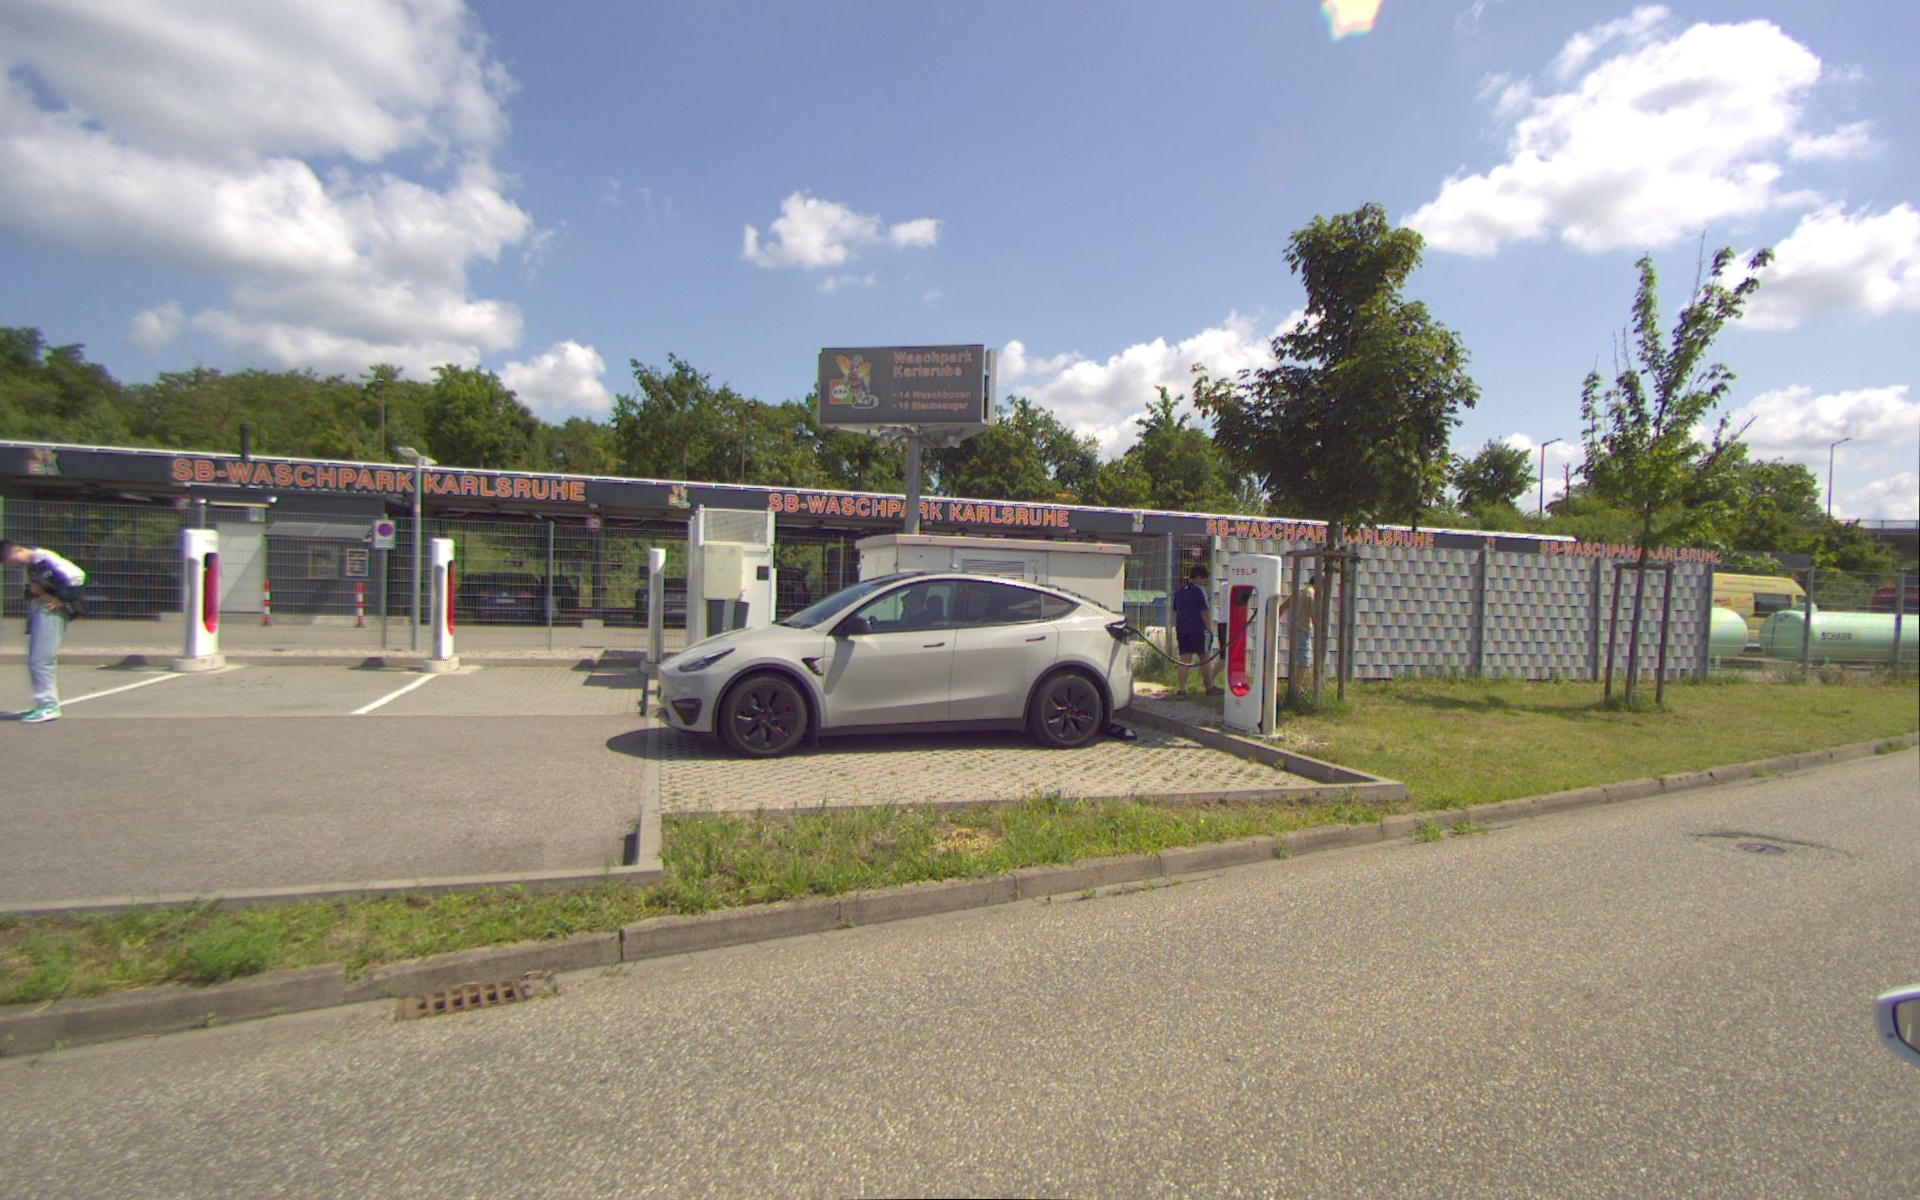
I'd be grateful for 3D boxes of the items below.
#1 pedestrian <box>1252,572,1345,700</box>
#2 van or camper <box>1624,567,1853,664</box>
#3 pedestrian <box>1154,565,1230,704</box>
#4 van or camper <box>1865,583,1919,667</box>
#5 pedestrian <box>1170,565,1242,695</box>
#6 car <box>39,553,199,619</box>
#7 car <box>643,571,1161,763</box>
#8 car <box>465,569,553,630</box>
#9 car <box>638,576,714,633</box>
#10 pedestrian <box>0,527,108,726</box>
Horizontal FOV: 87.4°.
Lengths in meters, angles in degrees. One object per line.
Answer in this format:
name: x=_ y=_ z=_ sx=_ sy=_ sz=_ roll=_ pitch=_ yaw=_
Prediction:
pedestrian: x=4.297 y=0.451 z=12.783 sx=0.802 sy=1.562 sz=0.737 roll=2 pitch=0 yaw=-17
van or camper: x=21.761 y=0.446 z=28.104 sx=5.569 sy=2.458 sz=2.241 roll=2 pitch=0 yaw=-17
pedestrian: x=2.811 y=0.397 z=12.138 sx=0.708 sy=1.600 sz=0.713 roll=2 pitch=0 yaw=25
van or camper: x=31.383 y=0.805 z=32.757 sx=5.658 sy=2.547 sz=2.169 roll=1 pitch=-1 yaw=-42
pedestrian: x=3.145 y=0.371 z=12.806 sx=0.700 sy=1.586 sz=0.758 roll=2 pitch=0 yaw=26
car: x=-22.474 y=-0.368 z=27.053 sx=1.970 sy=1.583 sz=3.982 roll=2 pitch=0 yaw=-20
car: x=-0.595 y=0.512 z=9.791 sx=4.702 sy=1.538 sz=1.928 roll=0 pitch=2 yaw=-20
car: x=-13.064 y=-0.029 z=29.289 sx=1.970 sy=1.583 sz=3.982 roll=2 pitch=0 yaw=-20
car: x=-8.884 y=0.121 z=31.211 sx=1.970 sy=1.583 sz=3.982 roll=2 pitch=0 yaw=-20
pedestrian: x=-8.596 y=0.232 z=9.397 sx=0.717 sy=1.775 sz=0.860 roll=2 pitch=1 yaw=-24
